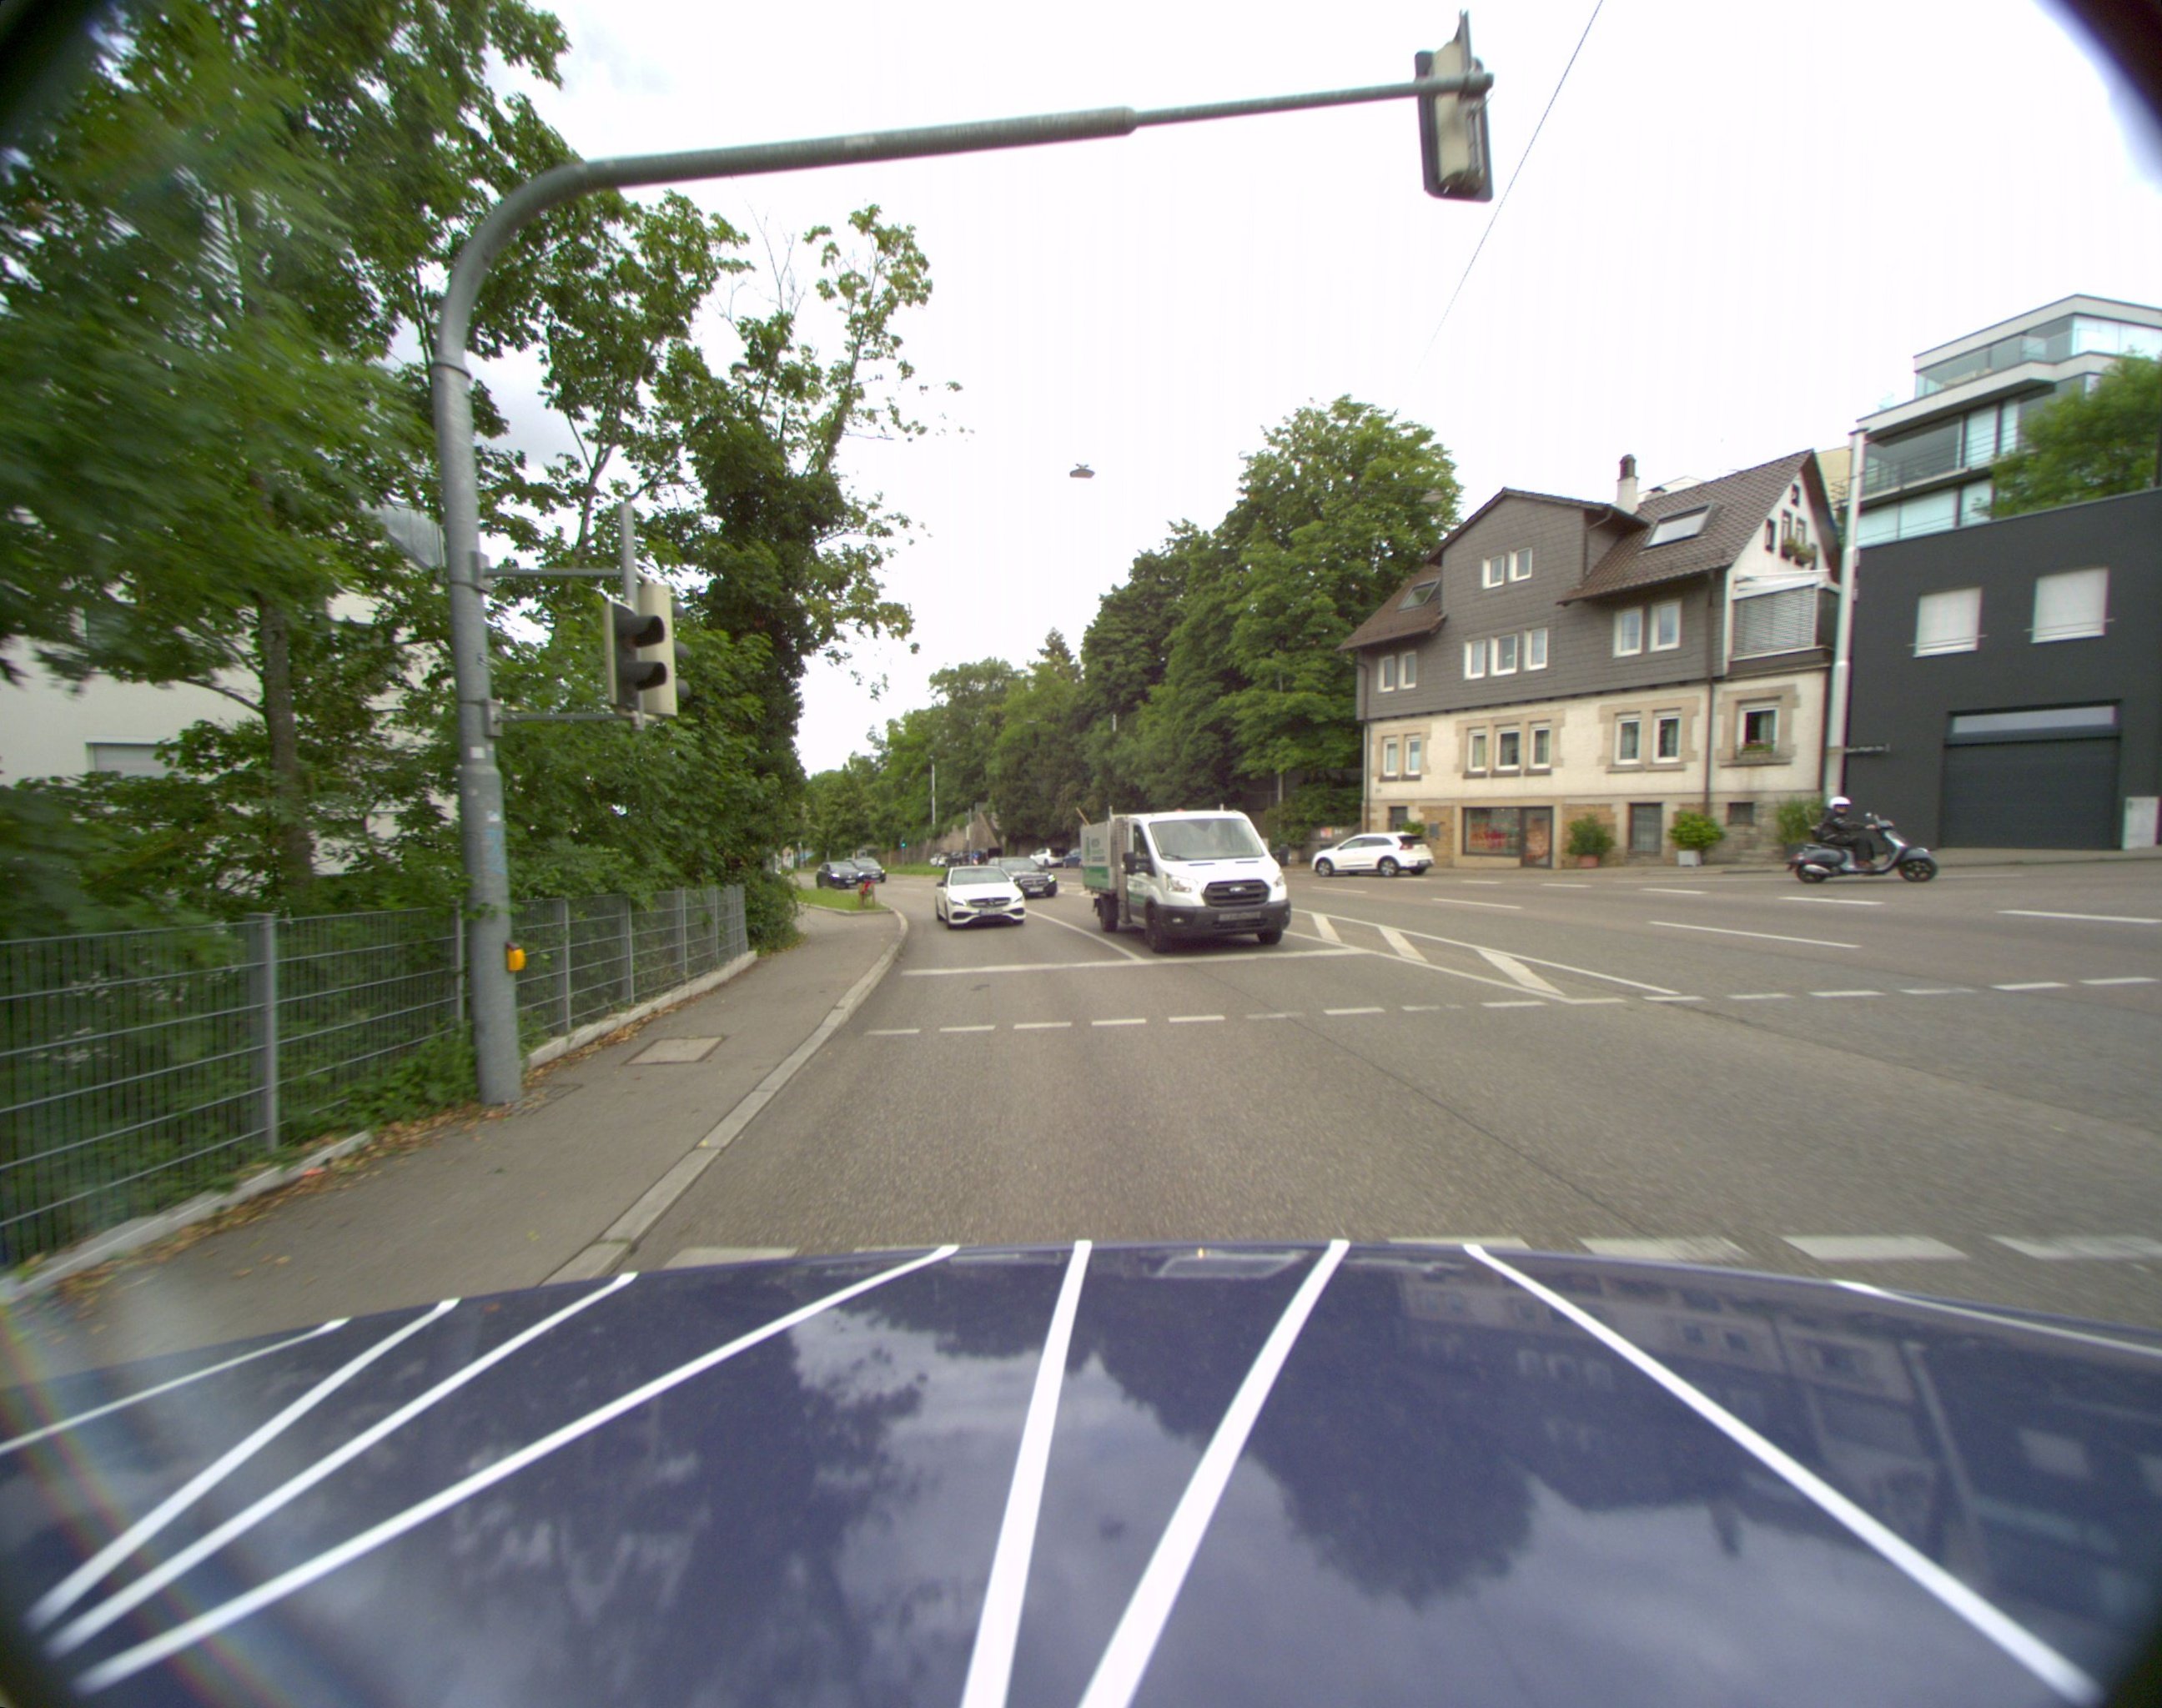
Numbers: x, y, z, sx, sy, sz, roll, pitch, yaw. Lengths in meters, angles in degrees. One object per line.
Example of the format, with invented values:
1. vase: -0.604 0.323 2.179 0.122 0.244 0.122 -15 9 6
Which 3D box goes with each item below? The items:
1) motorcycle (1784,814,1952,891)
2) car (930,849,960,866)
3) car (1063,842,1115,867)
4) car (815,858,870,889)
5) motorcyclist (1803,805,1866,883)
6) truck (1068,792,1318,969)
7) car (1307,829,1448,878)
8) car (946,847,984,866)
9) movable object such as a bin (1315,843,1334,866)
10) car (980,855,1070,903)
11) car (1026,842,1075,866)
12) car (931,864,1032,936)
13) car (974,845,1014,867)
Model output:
1. motorcycle: 14.550 -0.021 14.111 0.831 1.292 2.040 -6 3 -35
2. car: -13.827 0.346 77.350 1.788 1.490 3.090 -5 2 -35
3. car: 0.504 0.035 51.773 1.719 1.520 4.292 -5 1 -26
4. car: -13.491 1.102 42.833 1.781 1.533 3.990 -5 2 -34
5. motorcyclist: 14.288 -0.189 14.412 0.686 1.411 0.721 -4 2 -35
6. truck: 1.538 0.351 13.565 2.083 2.308 6.324 -4 1 -13
7. car: 10.513 -0.006 27.271 1.892 1.559 4.378 -4 1 -33
8. car: -11.118 0.266 72.724 1.978 1.647 4.521 -5 2 -30
9. movable object such as a bin: 11.035 0.016 34.453 0.540 1.014 0.645 -3 4 -21
10. car: -2.143 0.846 27.527 1.919 1.472 4.392 -4 1 -22
11. car: -2.323 0.038 57.270 1.788 1.619 4.160 -5 1 -32
12. car: -2.549 1.024 18.610 1.819 1.391 3.994 -4 1 -16
13. car: -7.802 0.192 67.739 1.788 1.832 4.478 -5 1 -31
